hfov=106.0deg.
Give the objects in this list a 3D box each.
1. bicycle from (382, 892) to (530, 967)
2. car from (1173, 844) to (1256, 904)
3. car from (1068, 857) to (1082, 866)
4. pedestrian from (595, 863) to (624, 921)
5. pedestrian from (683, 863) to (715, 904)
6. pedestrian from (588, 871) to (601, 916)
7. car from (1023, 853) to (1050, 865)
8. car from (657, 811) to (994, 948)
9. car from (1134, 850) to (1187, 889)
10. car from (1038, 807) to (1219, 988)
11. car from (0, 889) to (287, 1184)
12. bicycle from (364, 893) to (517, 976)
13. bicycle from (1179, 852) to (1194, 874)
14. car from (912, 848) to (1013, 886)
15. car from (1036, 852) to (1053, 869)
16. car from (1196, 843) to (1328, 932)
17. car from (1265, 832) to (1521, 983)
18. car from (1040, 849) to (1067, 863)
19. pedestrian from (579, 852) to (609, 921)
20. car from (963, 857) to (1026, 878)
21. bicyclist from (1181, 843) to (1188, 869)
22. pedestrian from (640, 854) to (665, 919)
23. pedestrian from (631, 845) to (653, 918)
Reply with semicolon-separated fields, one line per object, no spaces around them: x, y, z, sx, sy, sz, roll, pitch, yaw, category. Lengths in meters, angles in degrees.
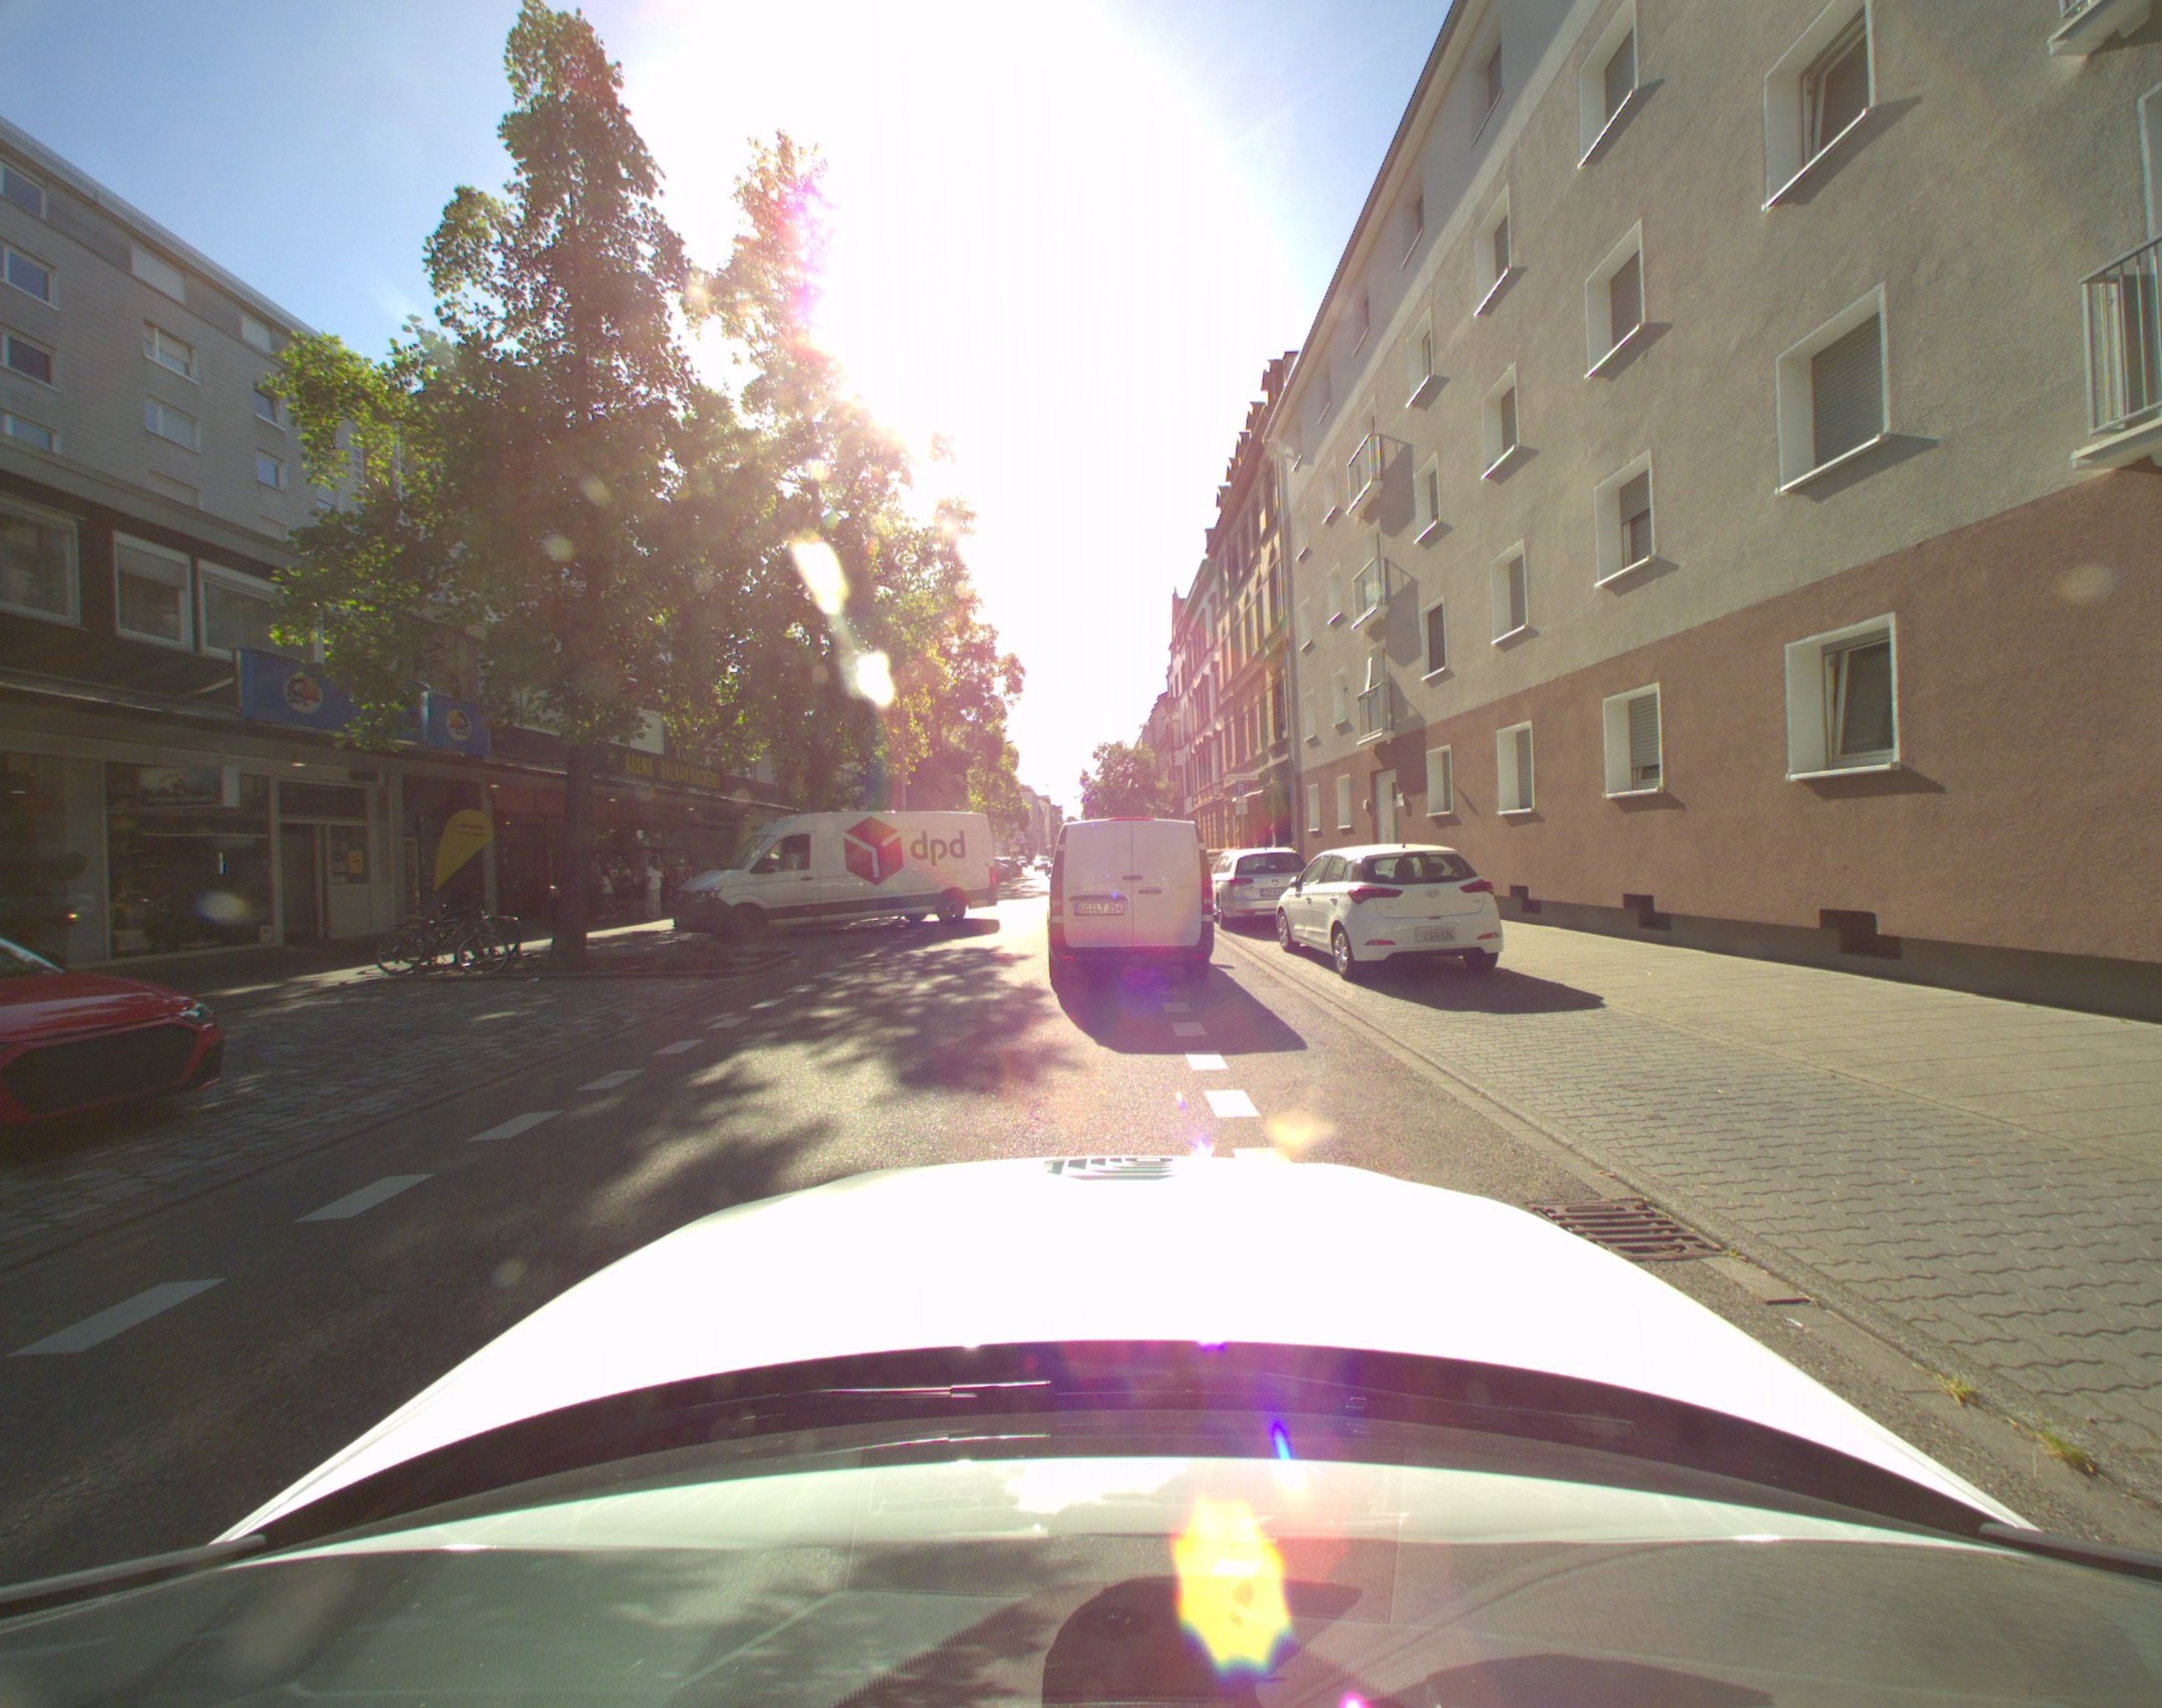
-9.647;1.149;12.593;1.860;1.106;0.587;0;0;3;bicycle
3.643;0.519;22.809;1.703;1.480;3.710;-2;0;0;car
-0.689;0.859;98.173;1.605;0.967;3.999;-2;0;-1;car
-12.320;0.978;21.276;0.467;1.473;0.420;-2;0;-3;pedestrian
-12.691;0.976;27.072;0.721;1.330;0.702;-1;-1;-3;pedestrian
-13.525;1.094;22.633;0.212;1.244;0.215;-1;-1;1;pedestrian
-6.655;0.759;122.314;3.979;1.640;1.997;-2;0;-4;car
-5.244;0.372;17.591;6.637;2.474;1.977;-2;0;-39;car
3.255;0.610;34.035;1.733;1.451;3.999;-2;0;-1;car
0.567;0.455;11.147;1.914;1.914;4.889;-1;0;1;car
-7.499;0.995;4.815;3.904;1.450;1.710;-1;0;0;car
-9.105;1.135;11.613;1.712;1.117;0.623;0;0;3;bicycle
6.071;0.506;46.934;0.534;1.148;2.126;-10;-2;3;bicycle
-6.482;0.697;44.936;5.276;1.974;2.015;-1;0;-1;car
-3.598;0.623;79.692;1.527;1.596;3.995;-2;0;-3;car
3.489;0.591;16.543;1.779;1.460;4.519;-3;0;2;car
3.726;0.564;10.499;1.726;1.486;3.793;-4;0;-1;car
-4.167;0.301;125.640;3.974;2.013;2.000;-2;0;0;car
-12.929;0.857;21.622;0.483;1.782;0.427;-3;0;-3;pedestrian
-6.265;0.998;59.035;4.288;1.460;1.763;0;0;2;car
6.000;0.112;47.111;0.359;1.477;0.531;-1;0;5;bicyclist
-11.422;0.861;21.725;0.389;1.705;0.502;-1;-1;1;pedestrian
-11.892;0.739;22.052;0.389;1.934;0.361;-1;-1;1;pedestrian
